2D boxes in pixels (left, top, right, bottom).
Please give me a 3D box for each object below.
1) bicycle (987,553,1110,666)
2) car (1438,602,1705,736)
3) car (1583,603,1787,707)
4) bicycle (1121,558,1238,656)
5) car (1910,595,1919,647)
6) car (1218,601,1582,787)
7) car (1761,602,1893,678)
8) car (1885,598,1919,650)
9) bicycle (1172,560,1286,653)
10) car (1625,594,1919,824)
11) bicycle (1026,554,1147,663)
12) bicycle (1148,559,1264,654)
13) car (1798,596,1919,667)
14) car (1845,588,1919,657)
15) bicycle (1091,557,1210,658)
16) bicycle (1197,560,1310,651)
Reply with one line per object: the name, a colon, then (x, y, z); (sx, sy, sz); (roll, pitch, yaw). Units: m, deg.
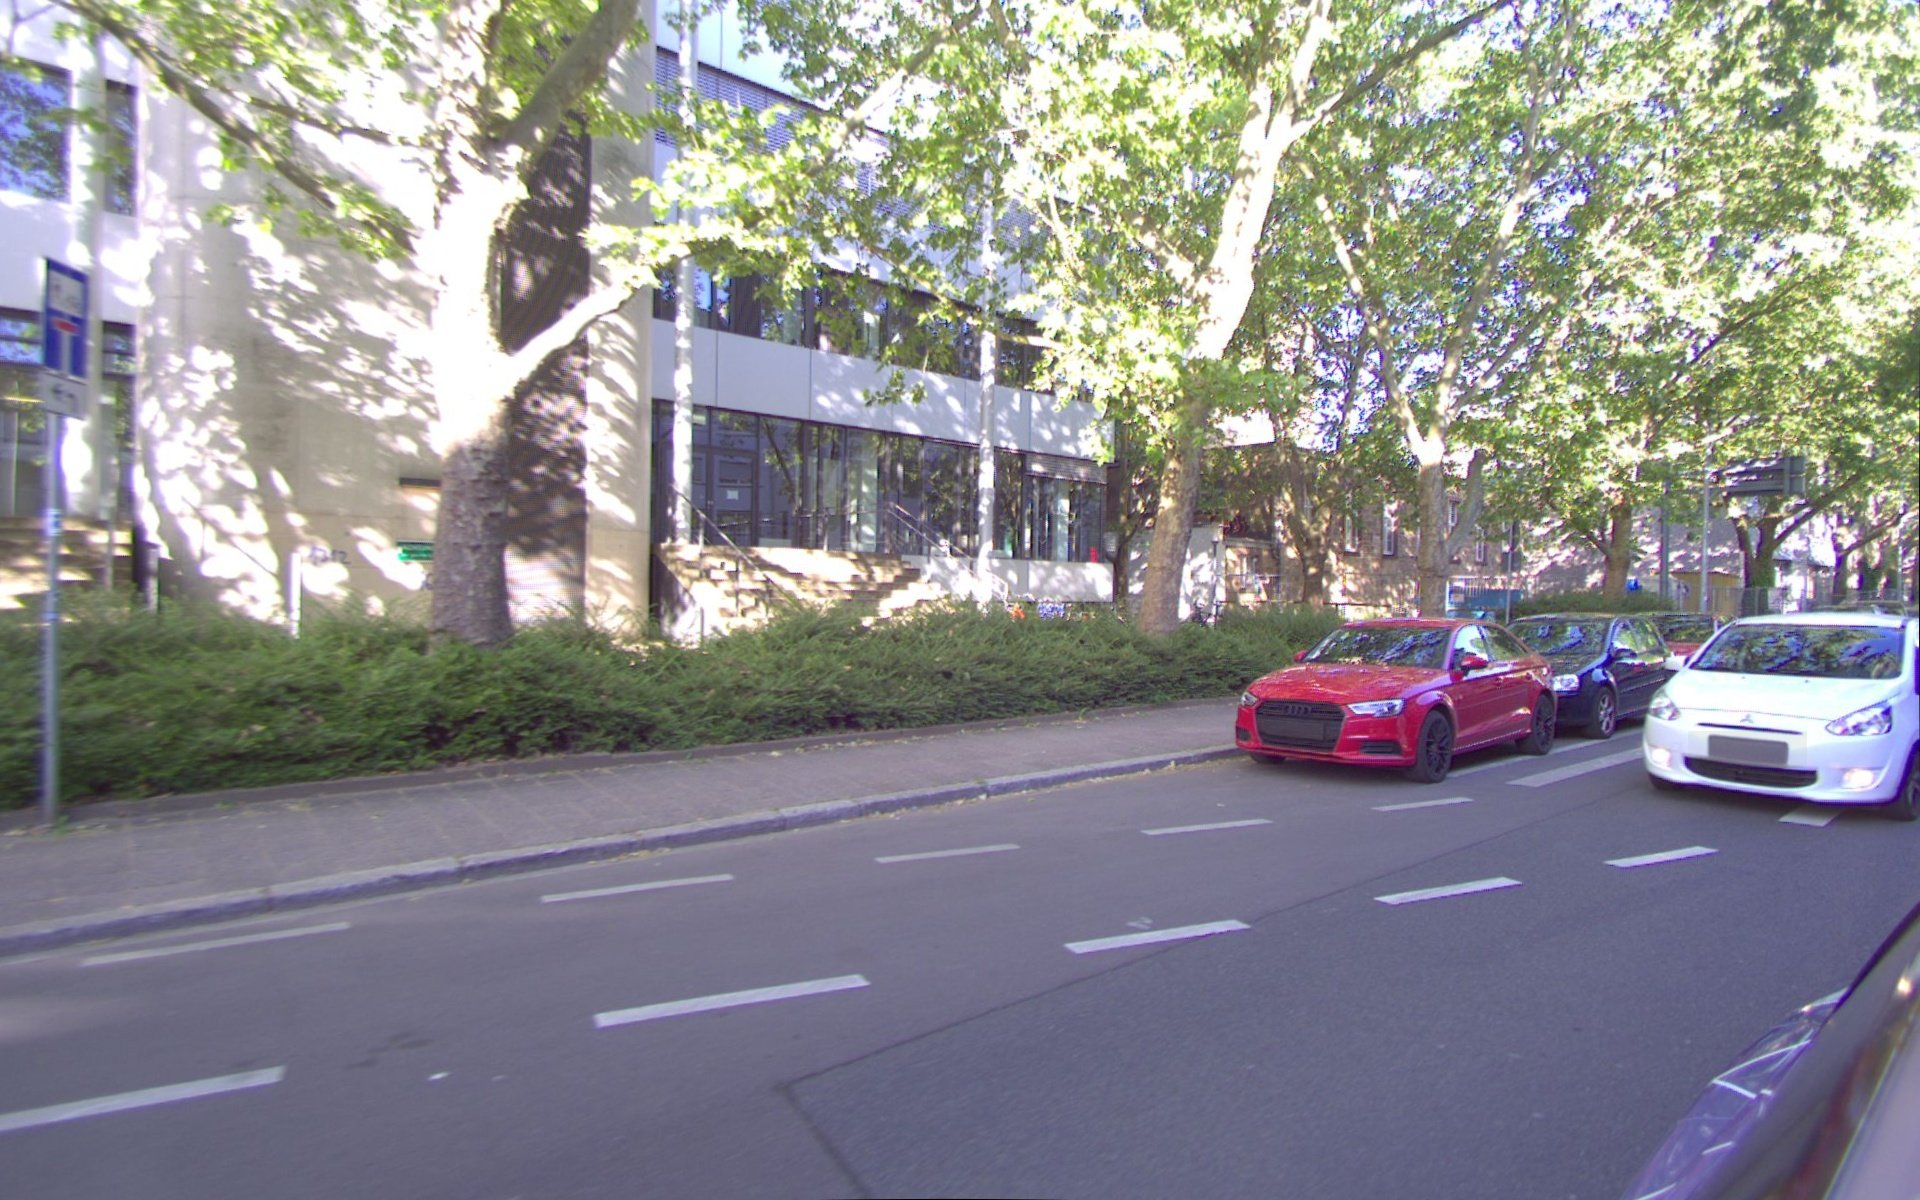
bicycle: (1.649, 0.144, 19.412); (0.729, 2.039, 2.603); (1, 0, -39)
car: (8.007, 0.786, 13.123); (3.992, 1.485, 1.696); (0, -2, -39)
car: (11.935, 0.809, 16.571); (4.241, 1.498, 1.696); (0, -2, -40)
bicycle: (4.775, 0.121, 22.206); (0.729, 2.039, 2.603); (1, 0, -39)
car: (35.804, 0.715, 36.459); (4.055, 1.836, 1.696); (0, -2, -39)
car: (4.548, 0.770, 10.121); (4.360, 1.468, 1.695); (0, -2, -42)
car: (19.087, 0.823, 22.233); (3.951, 1.523, 1.695); (0, -2, -42)
car: (32.245, 0.781, 33.729); (4.256, 1.649, 1.695); (0, -2, -42)
bicycle: (6.192, 0.111, 23.433); (0.729, 2.039, 2.603); (1, 0, -39)
car: (7.271, 0.717, 8.439); (3.615, 1.517, 1.684); (0, -1, -35)
bicycle: (2.476, 0.138, 20.212); (0.729, 2.039, 2.603); (1, 0, -39)
bicycle: (5.514, 0.116, 22.866); (0.729, 2.039, 2.603); (1, 0, -39)
car: (22.859, 0.764, 25.676); (4.540, 1.649, 1.778); (0, -2, -42)
car: (27.090, 0.640, 29.530); (1.823, 1.865, 4.825); (-2, -2, 41)
bicycle: (4.015, 0.127, 21.558); (0.729, 2.039, 2.603); (1, 0, -39)
bicycle: (6.908, 0.105, 24.000); (0.729, 2.039, 2.603); (1, 0, -39)
